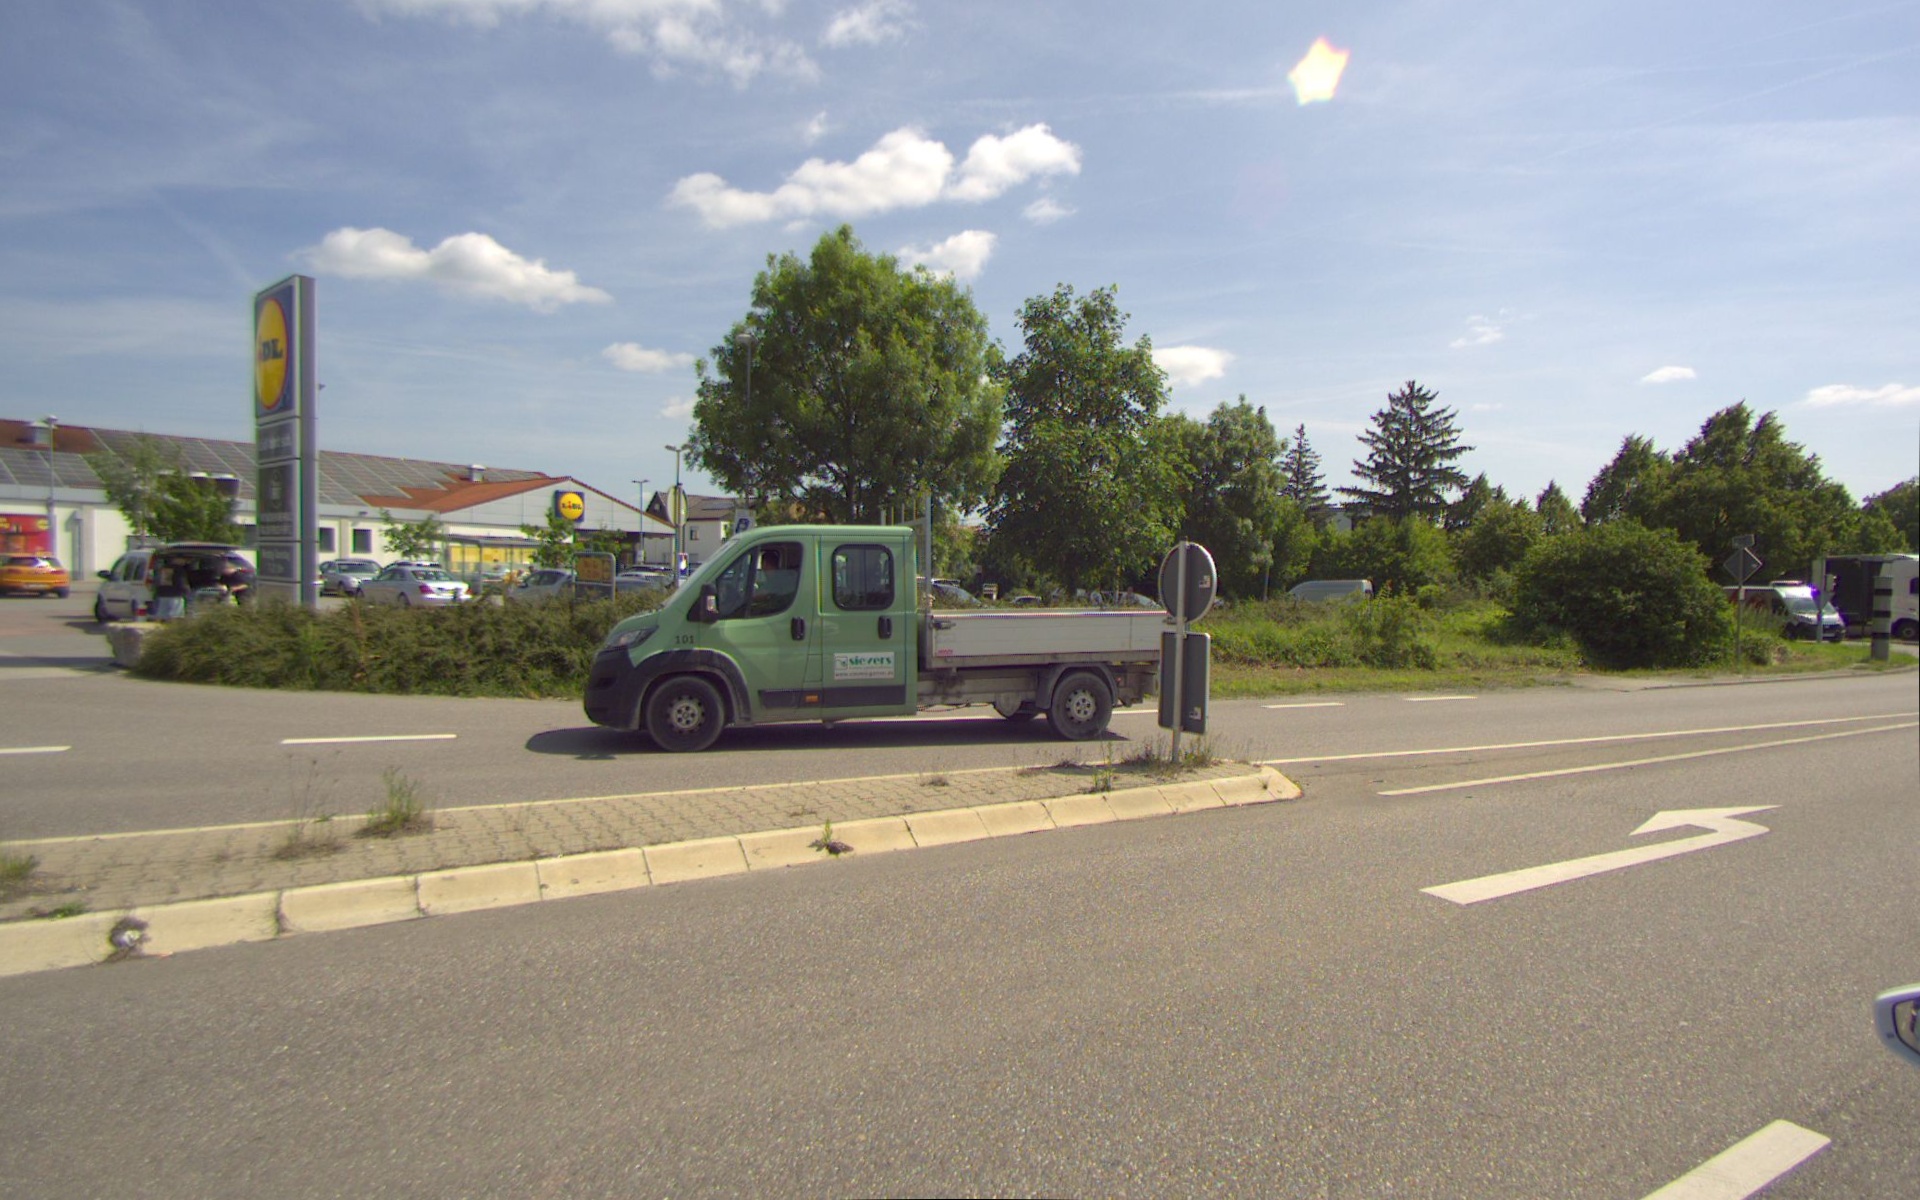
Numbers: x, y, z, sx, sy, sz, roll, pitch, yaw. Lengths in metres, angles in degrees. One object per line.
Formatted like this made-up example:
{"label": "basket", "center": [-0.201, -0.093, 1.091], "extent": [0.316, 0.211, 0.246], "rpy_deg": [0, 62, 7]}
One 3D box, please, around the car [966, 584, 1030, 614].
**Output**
{"label": "car", "center": [2.304, -0.037, 60.680], "extent": [1.883, 1.662, 3.984], "rpy_deg": [2, 0, 37]}

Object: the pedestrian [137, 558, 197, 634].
{"label": "pedestrian", "center": [-17.045, -0.077, 21.601], "extent": [0.692, 1.596, 0.807], "rpy_deg": [2, 0, 32]}

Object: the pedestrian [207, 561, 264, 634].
{"label": "pedestrian", "center": [-16.256, -0.050, 22.537], "extent": [0.692, 1.596, 0.807], "rpy_deg": [2, 0, 32]}

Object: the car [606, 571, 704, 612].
{"label": "car", "center": [-12.256, -0.355, 40.339], "extent": [3.936, 1.549, 1.772], "rpy_deg": [2, 0, 37]}

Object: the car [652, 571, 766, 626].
{"label": "car", "center": [-8.812, -0.070, 35.174], "extent": [3.939, 1.697, 1.903], "rpy_deg": [4, 2, 40]}

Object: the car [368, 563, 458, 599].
{"label": "car", "center": [-24.042, -0.834, 44.113], "extent": [3.933, 1.461, 1.880], "rpy_deg": [3, 1, 34]}

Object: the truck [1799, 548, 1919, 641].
{"label": "truck", "center": [43.141, -0.276, 46.701], "extent": [2.751, 4.116, 5.828], "rpy_deg": [0, 1, -14]}

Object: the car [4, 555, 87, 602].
{"label": "car", "center": [-31.144, -0.756, 34.311], "extent": [1.870, 1.461, 3.954], "rpy_deg": [1, 1, -39]}

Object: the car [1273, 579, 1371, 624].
{"label": "car", "center": [19.388, 0.071, 53.892], "extent": [4.524, 2.209, 1.992], "rpy_deg": [2, 1, 37]}

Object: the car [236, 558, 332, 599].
{"label": "car", "center": [-27.055, -0.871, 40.182], "extent": [3.933, 1.461, 1.880], "rpy_deg": [3, 1, 34]}

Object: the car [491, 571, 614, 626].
{"label": "car", "center": [-12.792, -0.083, 31.436], "extent": [4.081, 1.522, 1.776], "rpy_deg": [3, 2, 38]}

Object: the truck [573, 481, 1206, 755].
{"label": "truck", "center": [-0.711, 0.211, 10.825], "extent": [6.248, 2.407, 2.240], "rpy_deg": [1, 1, -17]}

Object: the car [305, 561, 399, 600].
{"label": "car", "center": [-25.450, -0.826, 42.021], "extent": [3.933, 1.461, 1.880], "rpy_deg": [3, 1, 34]}

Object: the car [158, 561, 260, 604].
{"label": "car", "center": [-28.020, -0.672, 37.460], "extent": [3.933, 1.461, 1.880], "rpy_deg": [3, 1, 34]}

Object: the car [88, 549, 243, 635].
{"label": "car", "center": [-18.627, -0.236, 23.505], "extent": [4.101, 1.836, 1.873], "rpy_deg": [2, 1, 37]}

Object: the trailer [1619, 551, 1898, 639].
{"label": "trailer", "center": [42.003, -0.351, 54.017], "extent": [2.746, 4.116, 13.712], "rpy_deg": [0, 1, -7]}

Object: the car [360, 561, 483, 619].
{"label": "car", "center": [-17.470, -0.359, 32.508], "extent": [4.353, 1.698, 1.859], "rpy_deg": [3, 2, 37]}

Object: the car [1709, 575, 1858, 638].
{"label": "car", "center": [37.042, 0.246, 45.462], "extent": [2.082, 2.690, 5.987], "rpy_deg": [0, 1, 4]}

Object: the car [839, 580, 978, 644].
{"label": "car", "center": [-1.540, 0.309, 29.106], "extent": [3.941, 1.679, 1.686], "rpy_deg": [2, 0, 41]}
